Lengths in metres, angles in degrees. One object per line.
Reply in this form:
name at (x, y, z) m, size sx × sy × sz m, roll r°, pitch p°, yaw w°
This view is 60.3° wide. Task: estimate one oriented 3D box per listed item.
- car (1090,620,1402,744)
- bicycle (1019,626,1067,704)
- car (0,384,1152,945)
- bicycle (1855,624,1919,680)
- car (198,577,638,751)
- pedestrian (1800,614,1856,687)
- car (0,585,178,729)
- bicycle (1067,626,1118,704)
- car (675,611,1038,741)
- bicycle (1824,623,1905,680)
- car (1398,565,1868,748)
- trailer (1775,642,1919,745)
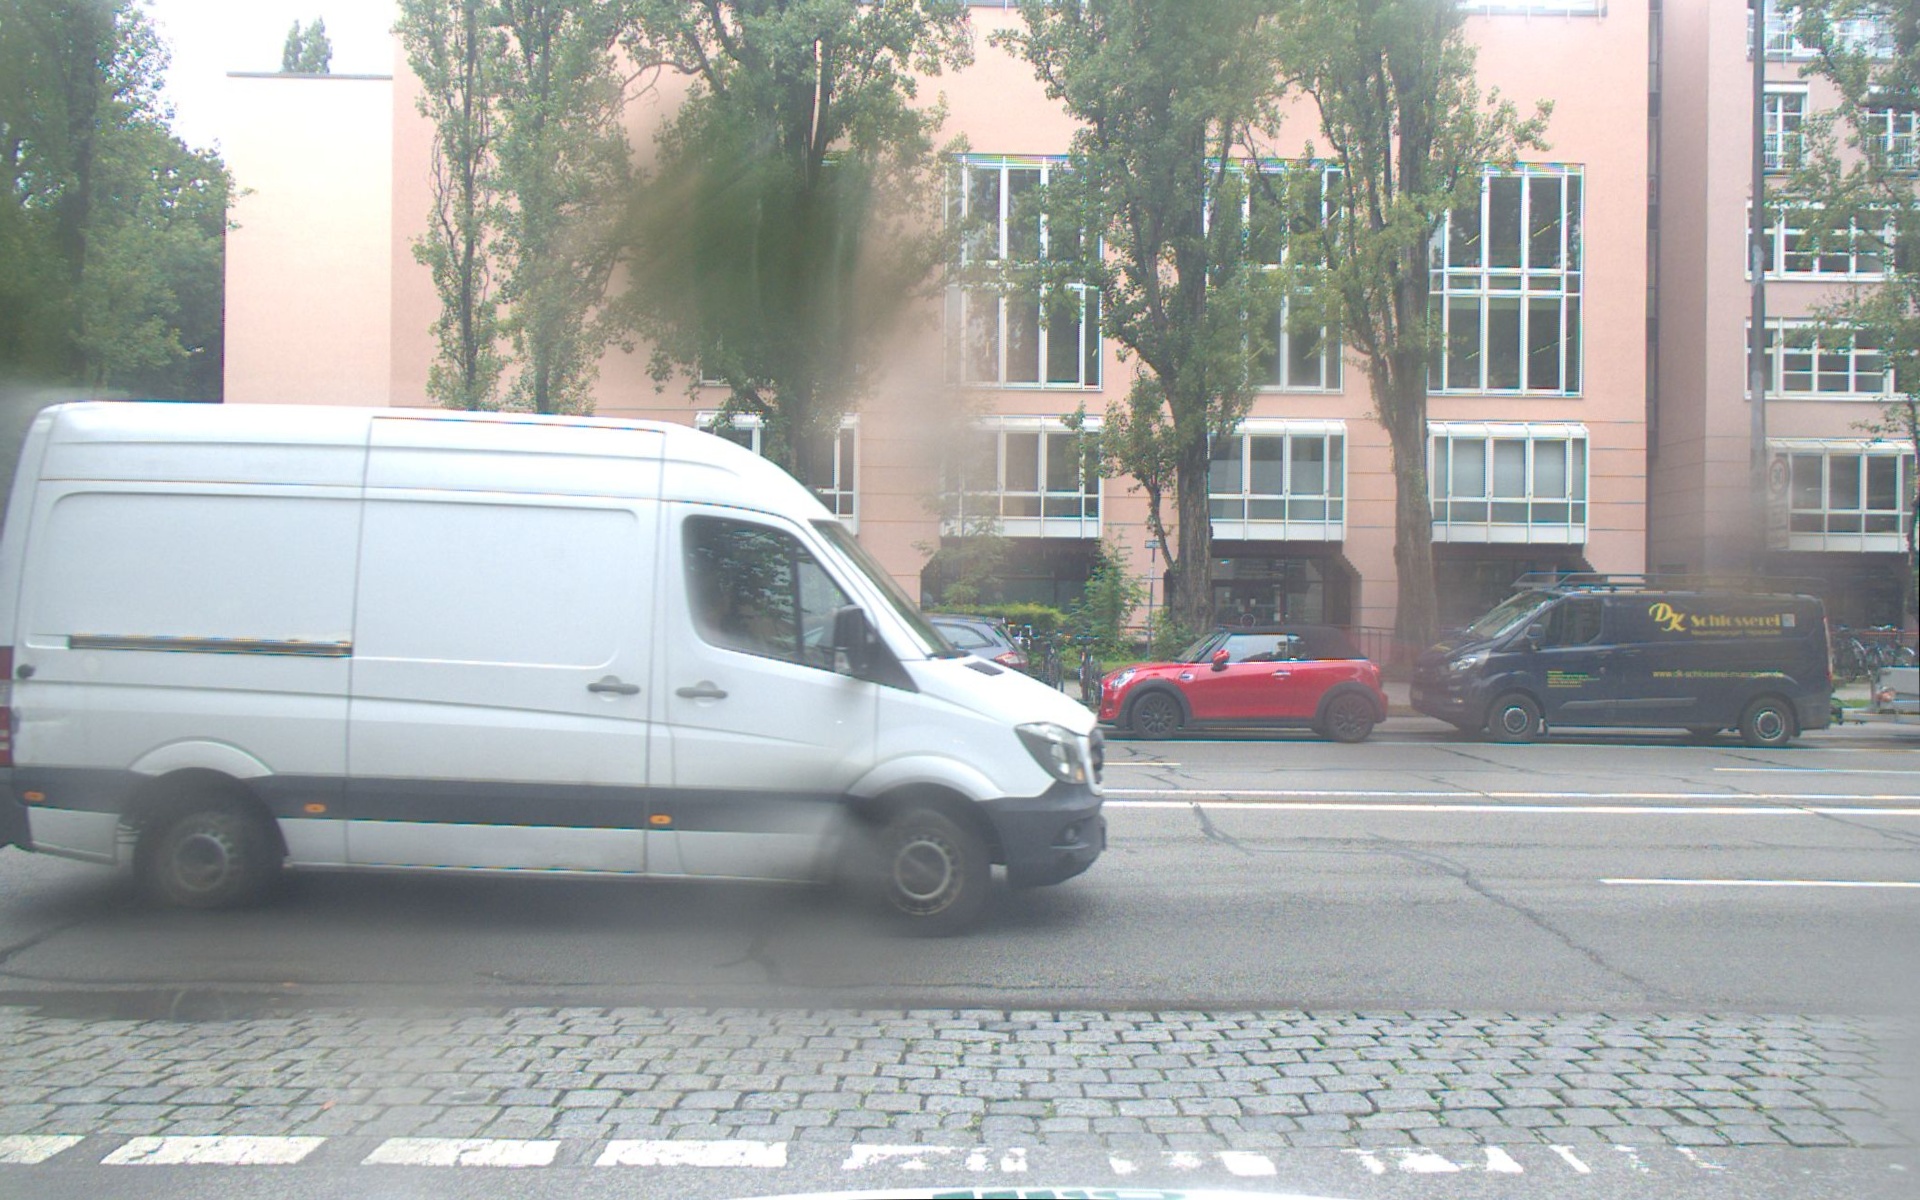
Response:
car at (3.620, 1.024, 21.428) m, size 3.780 × 1.474 × 1.679 m, roll 1°, pitch 0°, yaw 2°
bicycle at (1.285, 1.004, 25.913) m, size 0.660 × 1.144 × 1.742 m, roll 0°, pitch 0°, yaw 0°
car at (-2.030, 0.298, 9.036) m, size 5.899 × 2.698 × 2.046 m, roll 0°, pitch 1°, yaw -1°
bicycle at (20.020, 1.099, 35.379) m, size 0.660 × 1.144 × 1.989 m, roll 0°, pitch 0°, yaw 0°
car at (-5.196, 0.608, 16.237) m, size 3.663 × 1.554 × 1.849 m, roll 1°, pitch -1°, yaw 1°
pedestrian at (16.792, 0.966, 32.012) m, size 0.714 × 1.393 × 0.709 m, roll 1°, pitch 0°, yaw 0°
car at (-12.482, 0.716, 21.236) m, size 3.983 × 1.762 × 1.792 m, roll 1°, pitch -1°, yaw -2°
bicycle at (2.064, 1.002, 25.895) m, size 0.660 × 1.144 × 1.742 m, roll 0°, pitch 0°, yaw 0°
car at (-1.295, 0.956, 21.544) m, size 4.514 × 1.555 × 1.793 m, roll 1°, pitch 0°, yaw -1°
bicycle at (19.314, 1.087, 35.358) m, size 0.660 × 1.144 × 1.989 m, roll 0°, pitch 0°, yaw 0°
car at (8.705, 0.712, 21.732) m, size 5.367 × 2.235 × 2.023 m, roll 1°, pitch 0°, yaw -1°
trailer at (14.350, 1.234, 21.950) m, size 5.895 × 1.220 × 2.405 m, roll 1°, pitch 0°, yaw 0°
